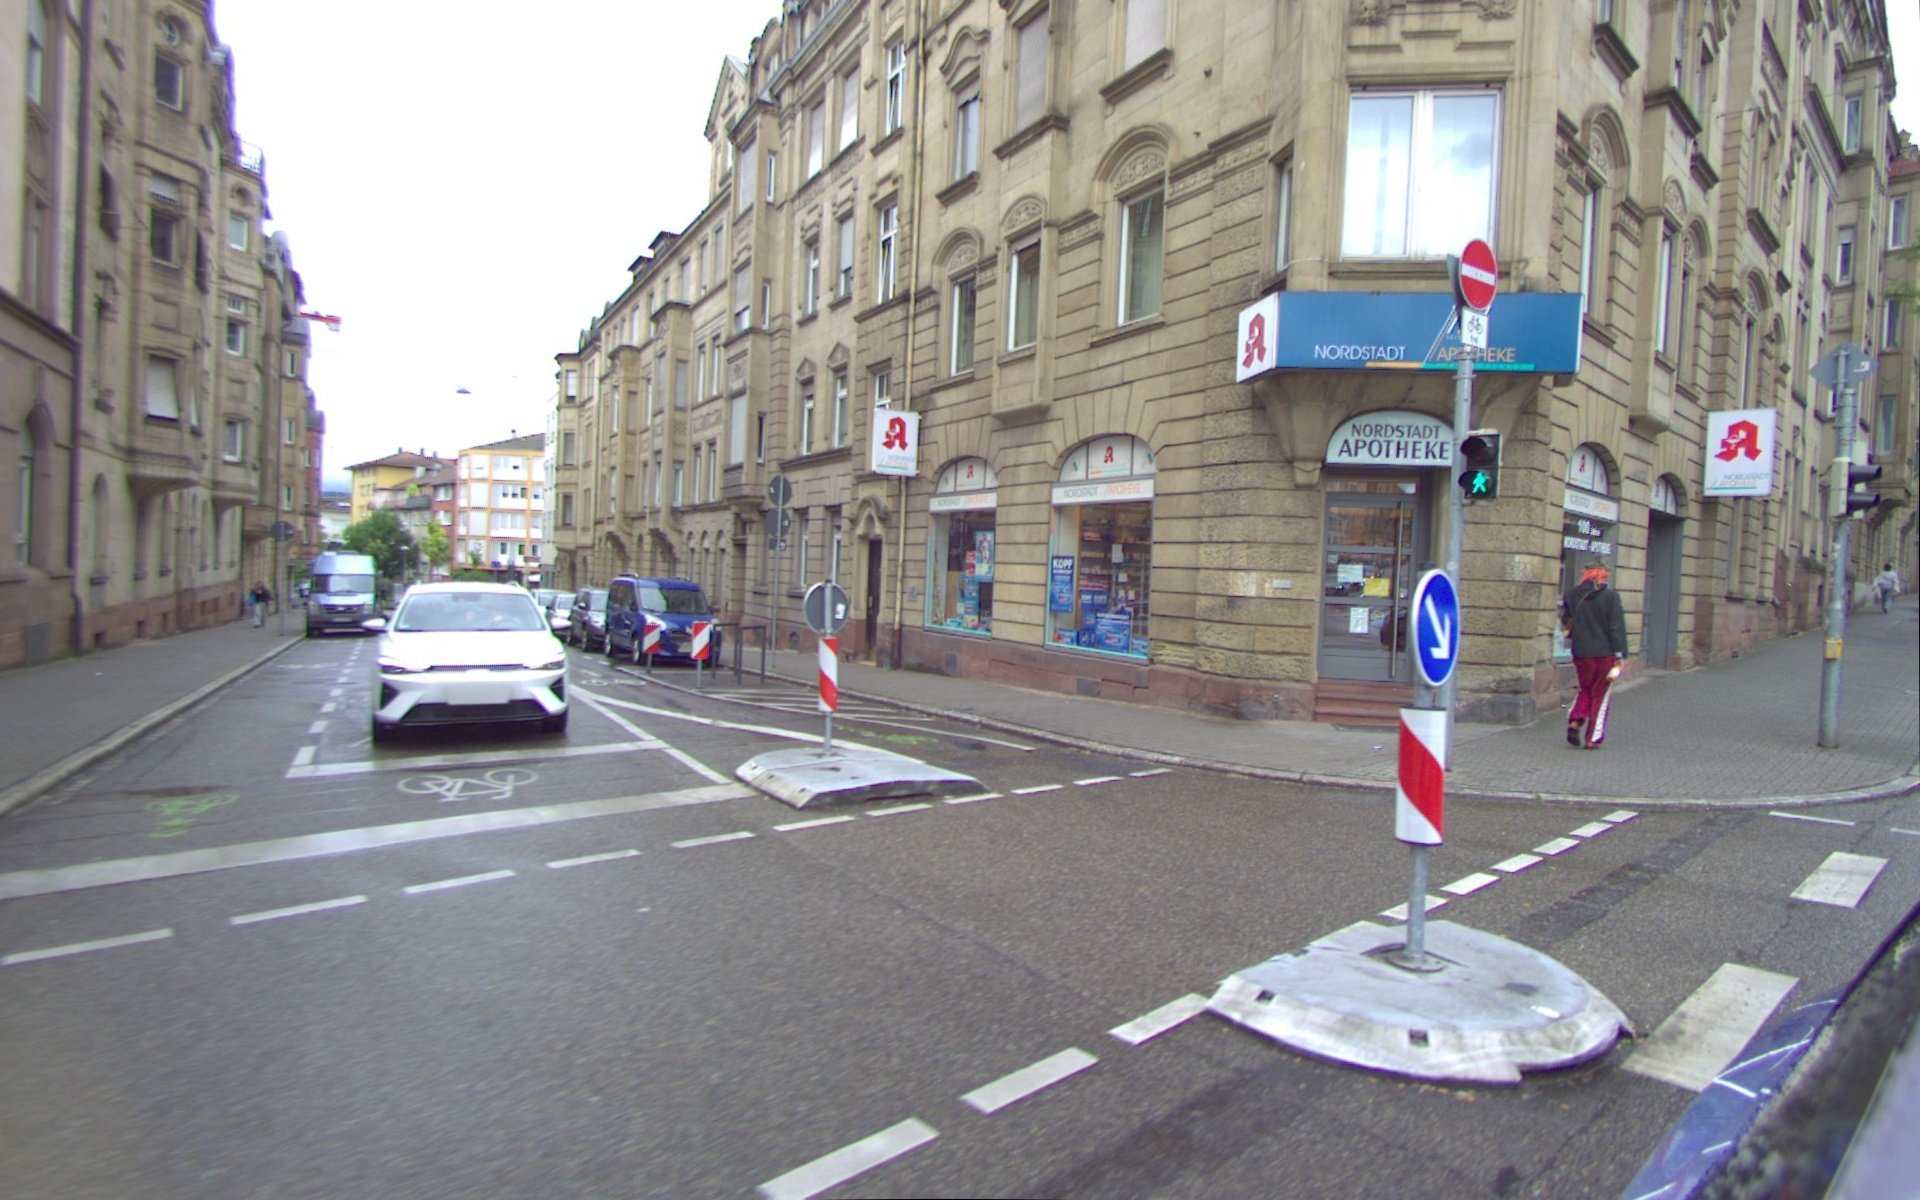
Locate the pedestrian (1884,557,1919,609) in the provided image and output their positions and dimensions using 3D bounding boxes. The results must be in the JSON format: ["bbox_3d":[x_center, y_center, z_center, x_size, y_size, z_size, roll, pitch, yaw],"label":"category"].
[{"bbox_3d":[29.234,-0.541,31.417,0.680,1.513,0.644,-6,9,-42],"label":"pedestrian"}]

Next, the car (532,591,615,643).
[{"bbox_3d":[-11.910,0.483,31.031,1.677,1.460,3.934,1,0,-31],"label":"car"}]

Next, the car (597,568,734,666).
[{"bbox_3d":[-6.507,0.327,22.050,1.805,1.924,4.181,1,0,-31],"label":"car"}]

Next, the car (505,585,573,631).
[{"bbox_3d":[-15.234,0.267,36.534,1.639,1.589,3.934,1,0,-31],"label":"car"}]

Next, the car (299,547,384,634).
[{"bbox_3d":[-19.951,-0.325,32.856,2.082,2.566,5.480,0,1,-29],"label":"car"}]

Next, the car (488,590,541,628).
[{"bbox_3d":[-19.900,0.385,45.147,1.639,1.589,3.934,1,0,-31],"label":"car"}]

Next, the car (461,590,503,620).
[{"bbox_3d":[-26.038,0.262,55.064,1.639,1.589,3.934,1,0,-31],"label":"car"}]

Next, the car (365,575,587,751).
[{"bbox_3d":[-5.402,0.528,11.231,1.804,1.529,4.580,0,0,-27],"label":"car"}]

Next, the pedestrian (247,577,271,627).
[{"bbox_3d":[-23.702,0.068,34.234,0.649,1.665,0.567,0,0,-35],"label":"pedestrian"}]

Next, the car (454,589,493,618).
[{"bbox_3d":[-28.318,0.178,58.846,1.639,1.589,3.934,1,0,-31],"label":"car"}]

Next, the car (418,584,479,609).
[{"bbox_3d":[-37.126,-0.258,73.496,3.919,1.741,1.822,0,1,-28],"label":"car"}]

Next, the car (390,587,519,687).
[{"bbox_3d":[-8.527,0.512,16.890,1.692,1.444,4.085,-1,1,-30],"label":"car"}]

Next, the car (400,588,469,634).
[{"bbox_3d":[-16.207,0.283,31.158,1.729,1.320,3.734,-1,1,-30],"label":"car"}]

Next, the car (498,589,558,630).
[{"bbox_3d":[-17.517,0.363,40.933,1.639,1.589,3.934,1,0,-31],"label":"car"}]

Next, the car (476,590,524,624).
[{"bbox_3d":[-22.431,0.306,49.283,1.639,1.589,3.934,1,0,-31],"label":"car"}]

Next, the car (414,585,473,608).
[{"bbox_3d":[-40.095,-0.270,78.609,3.713,1.708,1.715,0,1,-4],"label":"car"}]

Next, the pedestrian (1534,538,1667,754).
[{"bbox_3d":[6.229,0.404,9.846,1.070,1.973,0.700,0,1,-35],"label":"pedestrian"}]

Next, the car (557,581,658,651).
[{"bbox_3d":[-9.431,0.382,26.870,1.713,1.717,3.934,1,0,-31],"label":"car"}]
